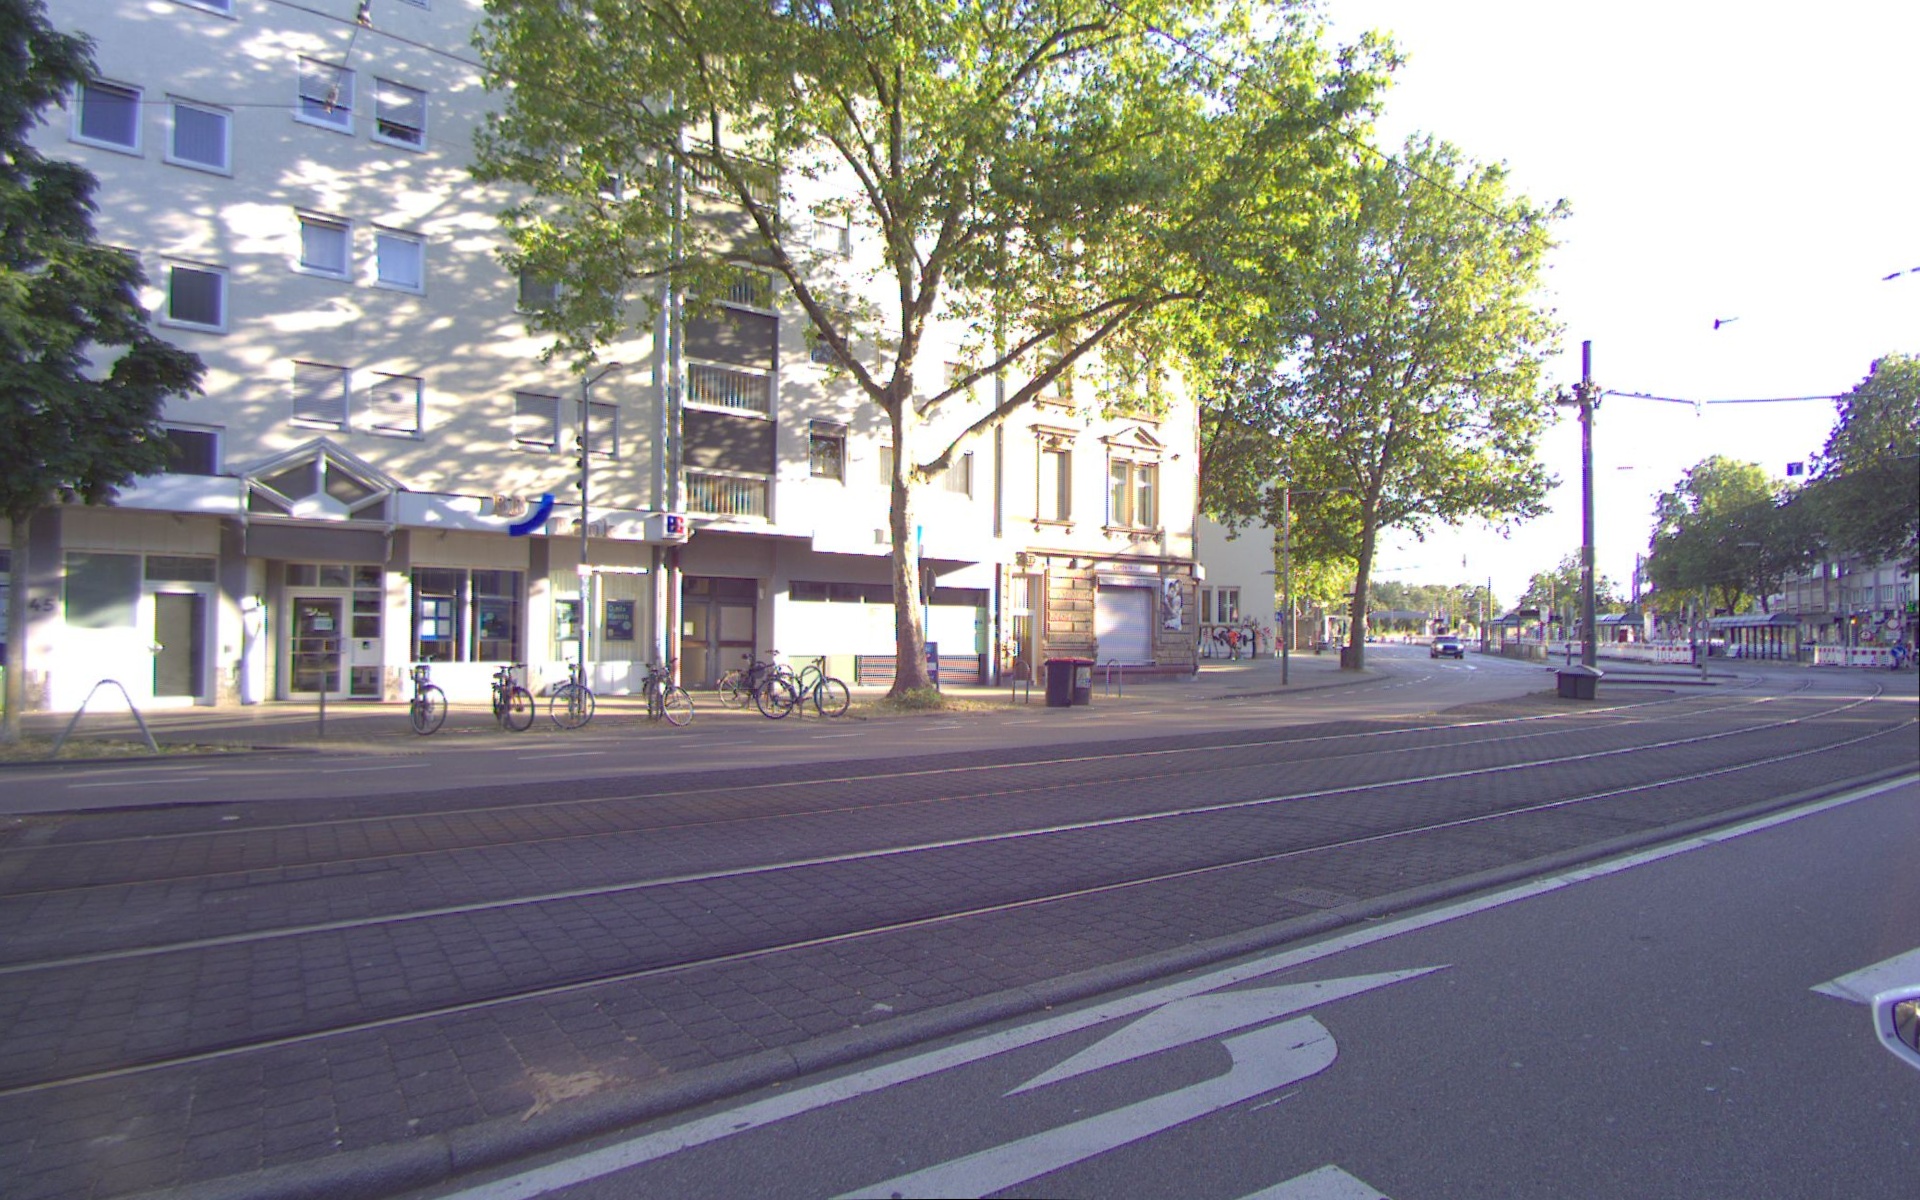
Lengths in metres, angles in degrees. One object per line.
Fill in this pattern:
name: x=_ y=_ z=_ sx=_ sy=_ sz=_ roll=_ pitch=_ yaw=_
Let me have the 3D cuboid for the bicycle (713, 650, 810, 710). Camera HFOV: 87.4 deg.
bicycle: x=-3.941 y=1.572 z=19.980 sx=1.777 sy=1.132 sz=0.617 roll=2 pitch=-2 yaw=-29

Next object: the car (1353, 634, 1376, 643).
car: x=78.259 y=7.402 z=194.267 sx=3.919 sy=1.661 sz=1.792 roll=0 pitch=-2 yaw=13

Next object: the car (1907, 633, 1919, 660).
car: x=64.465 y=3.118 z=65.883 sx=1.960 sy=1.815 sz=4.000 roll=2 pitch=-1 yaw=20

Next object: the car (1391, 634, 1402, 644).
car: x=78.793 y=7.057 z=181.330 sx=1.814 sy=1.706 sz=3.715 roll=-2 pitch=-2 yaw=23

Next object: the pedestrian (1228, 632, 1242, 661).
pedestrian: x=14.770 y=2.477 z=53.914 sx=0.599 sy=1.533 sz=0.493 roll=0 pitch=-1 yaw=-6

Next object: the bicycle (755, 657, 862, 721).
bicycle: x=-2.720 y=1.574 z=18.103 sx=1.800 sy=1.091 sz=0.649 roll=2 pitch=-2 yaw=-29

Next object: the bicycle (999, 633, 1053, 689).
bicycle: x=1.773 y=1.635 z=27.405 sx=0.469 sy=1.430 sz=1.956 roll=1 pitch=-1 yaw=-29

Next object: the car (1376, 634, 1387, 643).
car: x=79.473 y=7.222 z=189.312 sx=1.814 sy=1.706 sz=3.716 roll=0 pitch=-2 yaw=23

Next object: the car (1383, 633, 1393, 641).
car: x=89.592 y=7.772 z=210.261 sx=1.814 sy=1.706 sz=3.716 roll=0 pitch=-2 yaw=23

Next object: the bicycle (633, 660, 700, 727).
bicycle: x=-5.025 y=1.571 z=17.140 sx=0.584 sy=1.002 sz=1.729 roll=2 pitch=-1 yaw=-34

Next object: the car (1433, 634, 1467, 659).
car: x=32.988 y=3.112 z=67.692 sx=1.962 sy=1.661 sz=3.997 roll=0 pitch=-2 yaw=25

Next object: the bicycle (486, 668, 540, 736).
bicycle: x=-6.925 y=1.550 z=15.531 sx=0.467 sy=0.900 sz=1.729 roll=2 pitch=-1 yaw=-34

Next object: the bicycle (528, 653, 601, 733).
bicycle: x=-6.343 y=1.451 z=16.072 sx=0.724 sy=1.128 sz=1.729 roll=2 pitch=-1 yaw=-34

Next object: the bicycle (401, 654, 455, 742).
bicycle: x=-7.827 y=1.403 z=14.742 sx=0.506 sy=1.153 sz=1.729 roll=2 pitch=-1 yaw=-34

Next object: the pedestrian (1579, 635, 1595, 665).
pedestrian: x=35.395 y=2.830 z=56.711 sx=0.645 sy=1.678 sz=0.444 roll=0 pitch=-2 yaw=18
